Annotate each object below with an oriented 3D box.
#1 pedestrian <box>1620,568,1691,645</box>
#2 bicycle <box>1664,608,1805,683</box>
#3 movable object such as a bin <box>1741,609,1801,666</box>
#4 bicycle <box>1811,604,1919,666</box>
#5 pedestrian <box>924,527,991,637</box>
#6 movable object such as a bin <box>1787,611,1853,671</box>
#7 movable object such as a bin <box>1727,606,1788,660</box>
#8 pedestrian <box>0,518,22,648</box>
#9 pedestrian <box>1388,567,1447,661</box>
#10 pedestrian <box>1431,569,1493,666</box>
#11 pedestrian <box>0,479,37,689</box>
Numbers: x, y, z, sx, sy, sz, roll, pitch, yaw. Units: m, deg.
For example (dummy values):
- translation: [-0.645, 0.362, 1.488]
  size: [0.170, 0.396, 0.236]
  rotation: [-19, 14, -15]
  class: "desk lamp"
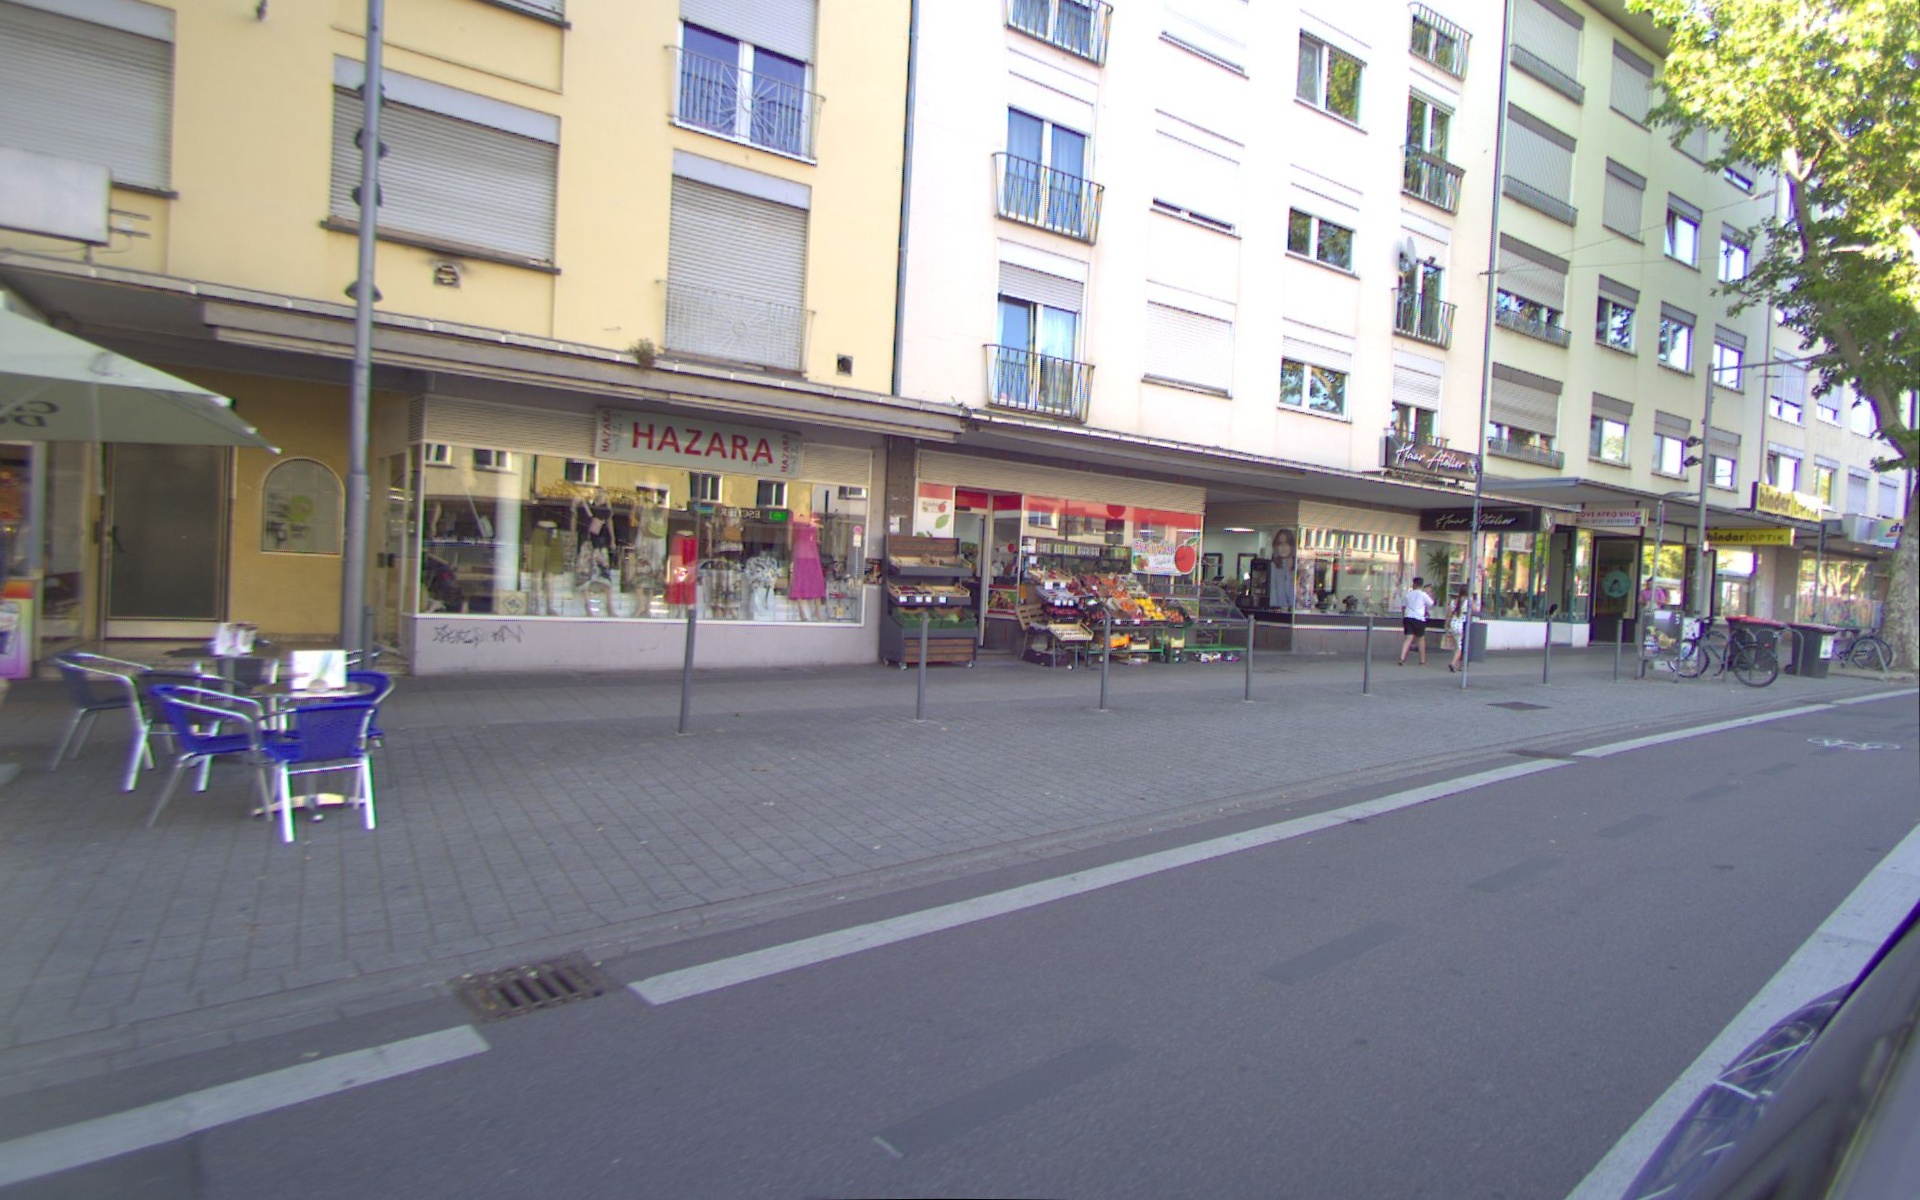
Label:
- translation: [16.849, 0.135, 24.529]
  size: [1.111, 1.784, 0.972]
  rotation: [0, 3, -32]
  class: "pedestrian"
- translation: [13.968, 0.794, 18.320]
  size: [0.507, 1.118, 1.918]
  rotation: [1, 4, -26]
  class: "bicycle"
- translation: [16.844, 0.764, 21.021]
  size: [0.632, 1.084, 0.725]
  rotation: [0, 6, -35]
  class: "movable object such as a bin"
- translation: [19.264, 0.712, 21.440]
  size: [0.731, 1.130, 1.725]
  rotation: [-3, 4, -32]
  class: "bicycle"
- translation: [-0.044, -0.292, 16.881]
  size: [0.864, 1.766, 0.686]
  rotation: [1, 0, -37]
  class: "pedestrian"
- translation: [17.298, 0.813, 20.370]
  size: [0.631, 1.115, 0.726]
  rotation: [1, 5, -26]
  class: "movable object such as a bin"
- translation: [17.138, 0.706, 21.758]
  size: [0.630, 1.085, 0.726]
  rotation: [2, 3, -15]
  class: "movable object such as a bin"
- translation: [-9.961, -0.180, 10.336]
  size: [0.498, 1.312, 0.427]
  rotation: [1, 2, -36]
  class: "pedestrian"
- translation: [8.147, 0.236, 18.042]
  size: [0.614, 1.605, 0.625]
  rotation: [1, 4, -34]
  class: "pedestrian"
- translation: [8.682, 0.294, 17.519]
  size: [0.614, 1.605, 0.638]
  rotation: [1, 4, -34]
  class: "pedestrian"
- translation: [-8.628, -0.145, 8.796]
  size: [0.614, 1.826, 0.638]
  rotation: [2, 1, -4]
  class: "pedestrian"
